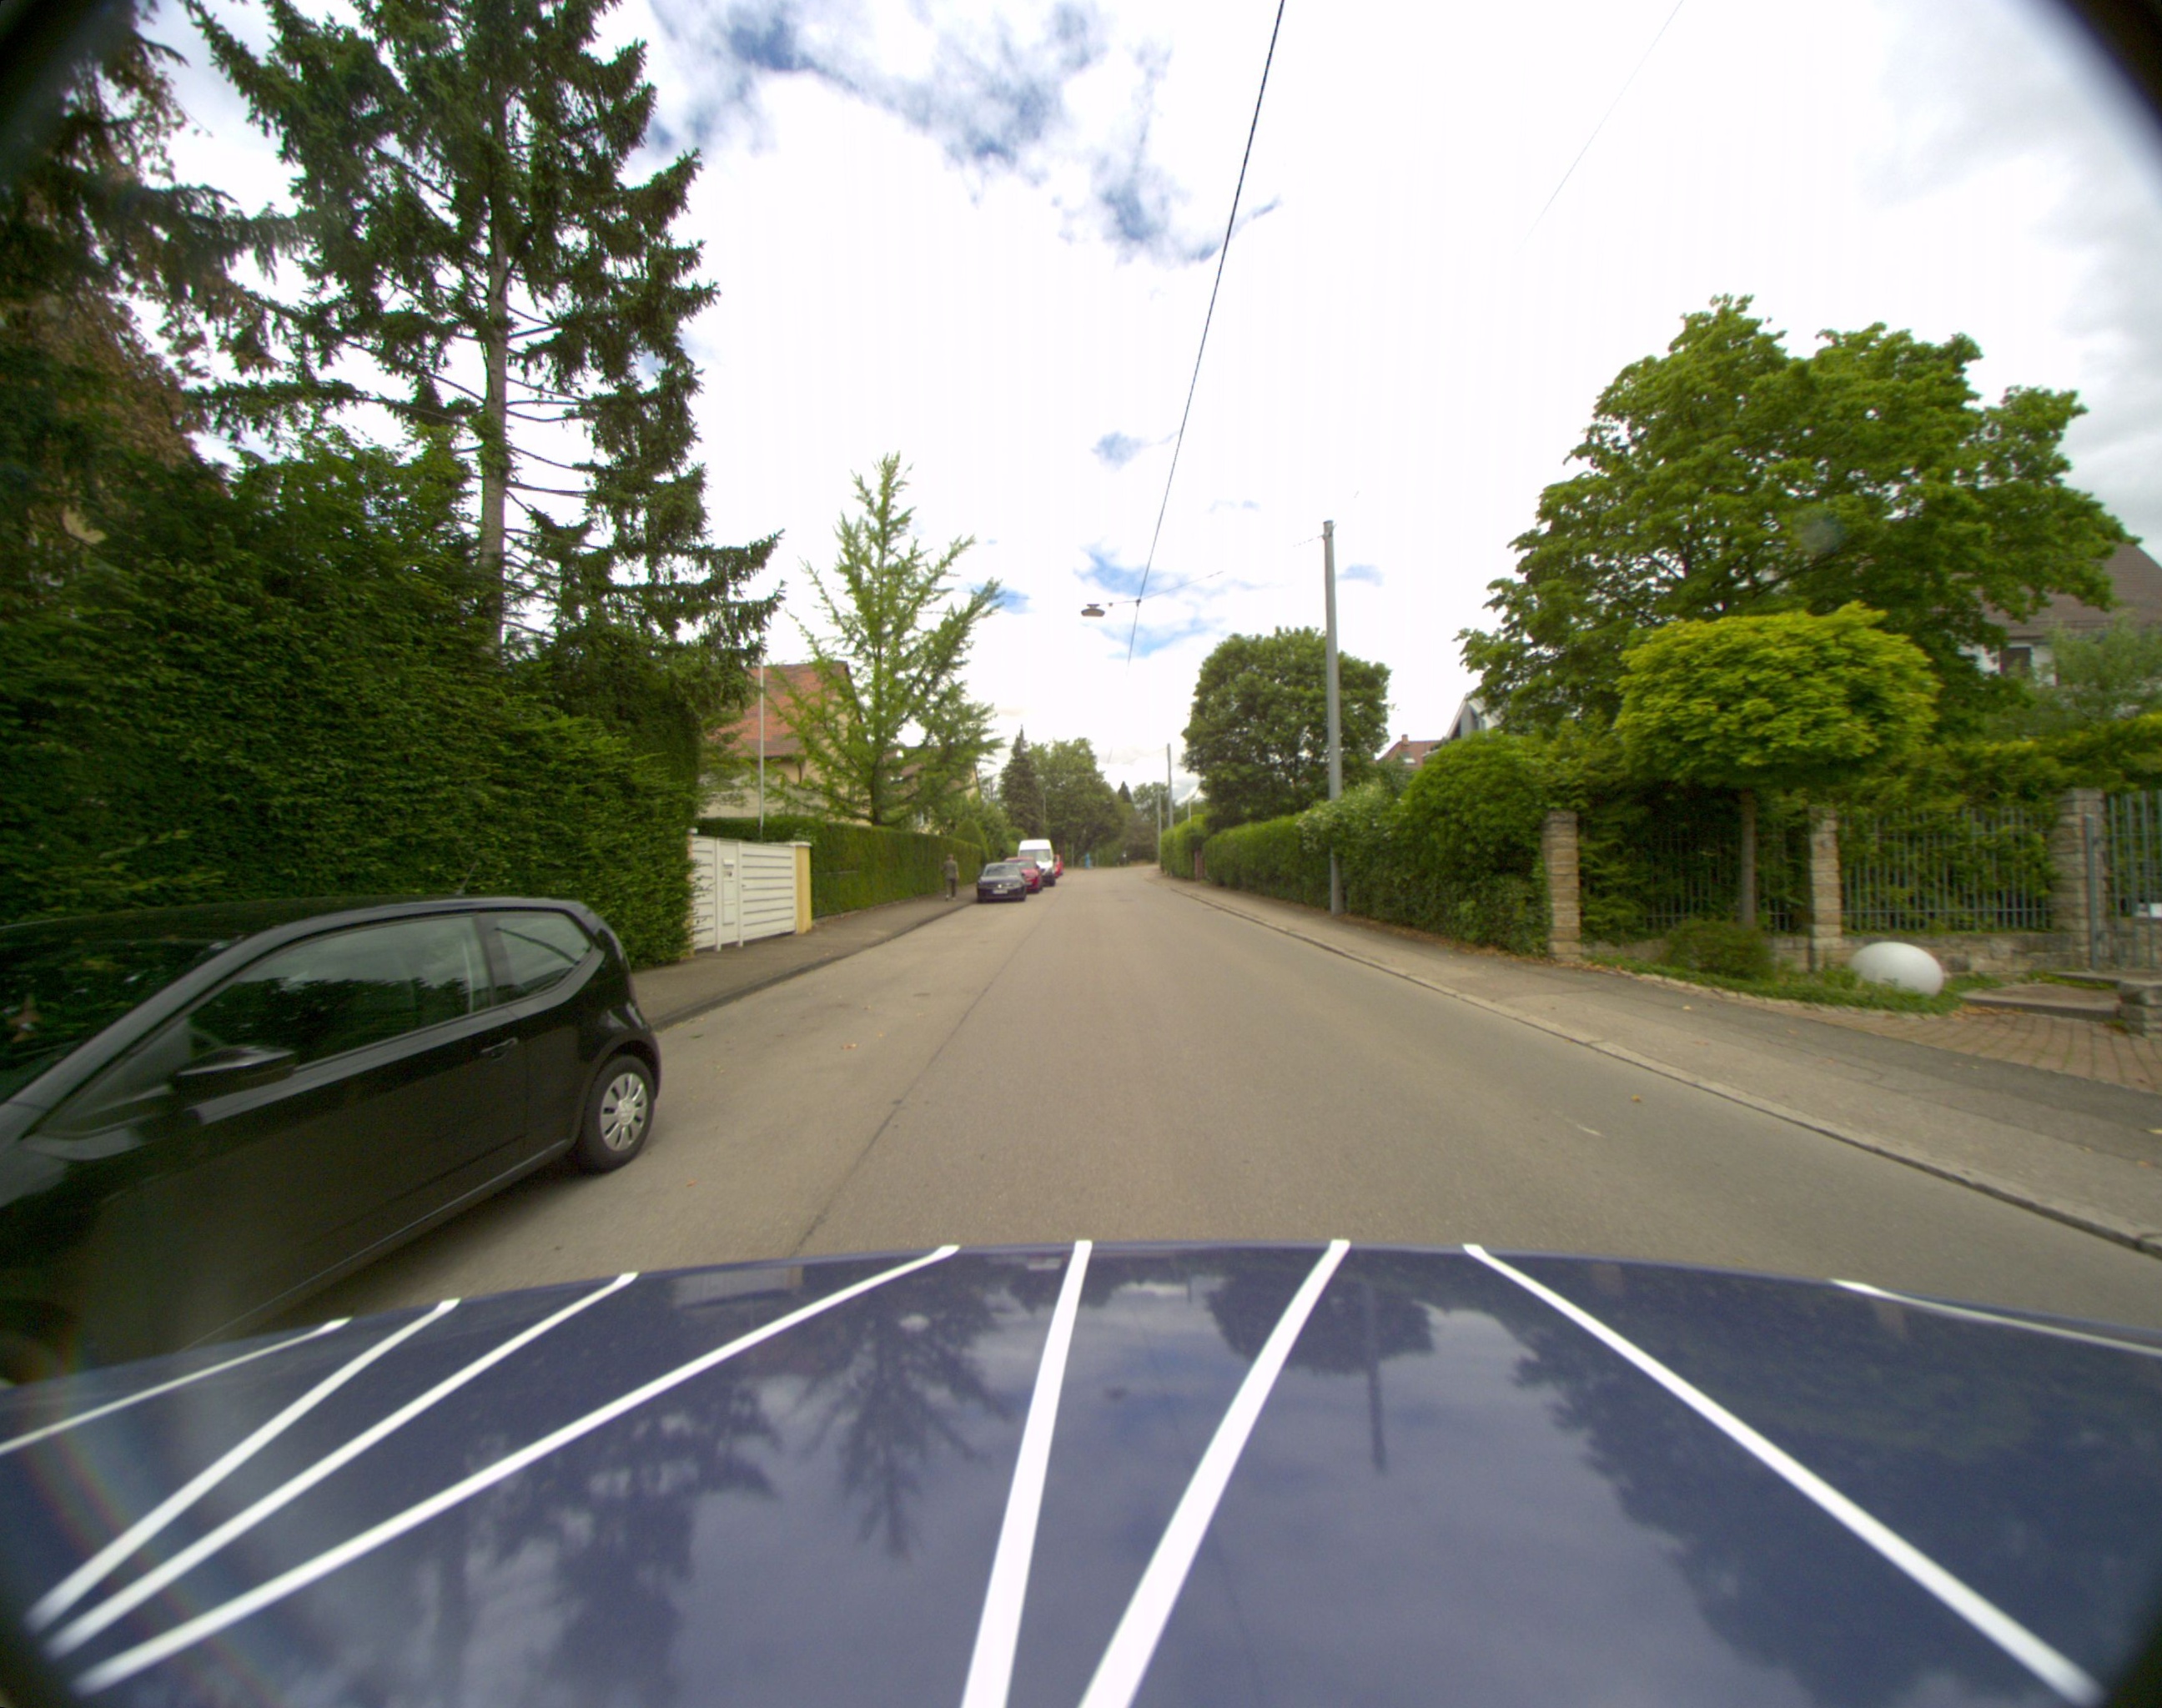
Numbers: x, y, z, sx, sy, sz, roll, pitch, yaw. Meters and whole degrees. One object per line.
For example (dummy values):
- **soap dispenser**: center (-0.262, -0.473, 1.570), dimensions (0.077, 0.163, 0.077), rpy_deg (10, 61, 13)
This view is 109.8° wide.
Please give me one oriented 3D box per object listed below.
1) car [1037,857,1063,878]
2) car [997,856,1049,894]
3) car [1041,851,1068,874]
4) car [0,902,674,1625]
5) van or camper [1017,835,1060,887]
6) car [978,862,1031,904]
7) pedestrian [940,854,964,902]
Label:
- **car**: center (-2.307, 1.010, 57.521), dimensions (1.704, 1.421, 4.394), rpy_deg (-2, 0, 0)
- **car**: center (-2.581, 0.916, 34.820), dimensions (1.893, 1.572, 4.765), rpy_deg (0, 0, 1)
- **car**: center (-2.158, 0.678, 63.444), dimensions (1.771, 1.755, 4.162), rpy_deg (-2, 0, 3)
- **car**: center (-3.254, 1.035, 2.587), dimensions (1.627, 1.464, 3.740), rpy_deg (-2, 0, 1)
- **van or camper**: center (-2.301, 0.369, 43.171), dimensions (2.046, 2.605, 7.037), rpy_deg (-3, 0, -1)
- **car**: center (-2.833, 1.048, 28.706), dimensions (1.683, 1.399, 4.053), rpy_deg (0, 0, -1)
- **pedestrian**: center (-4.652, 0.846, 27.495), dimensions (0.671, 1.688, 0.918), rpy_deg (0, 0, 1)
